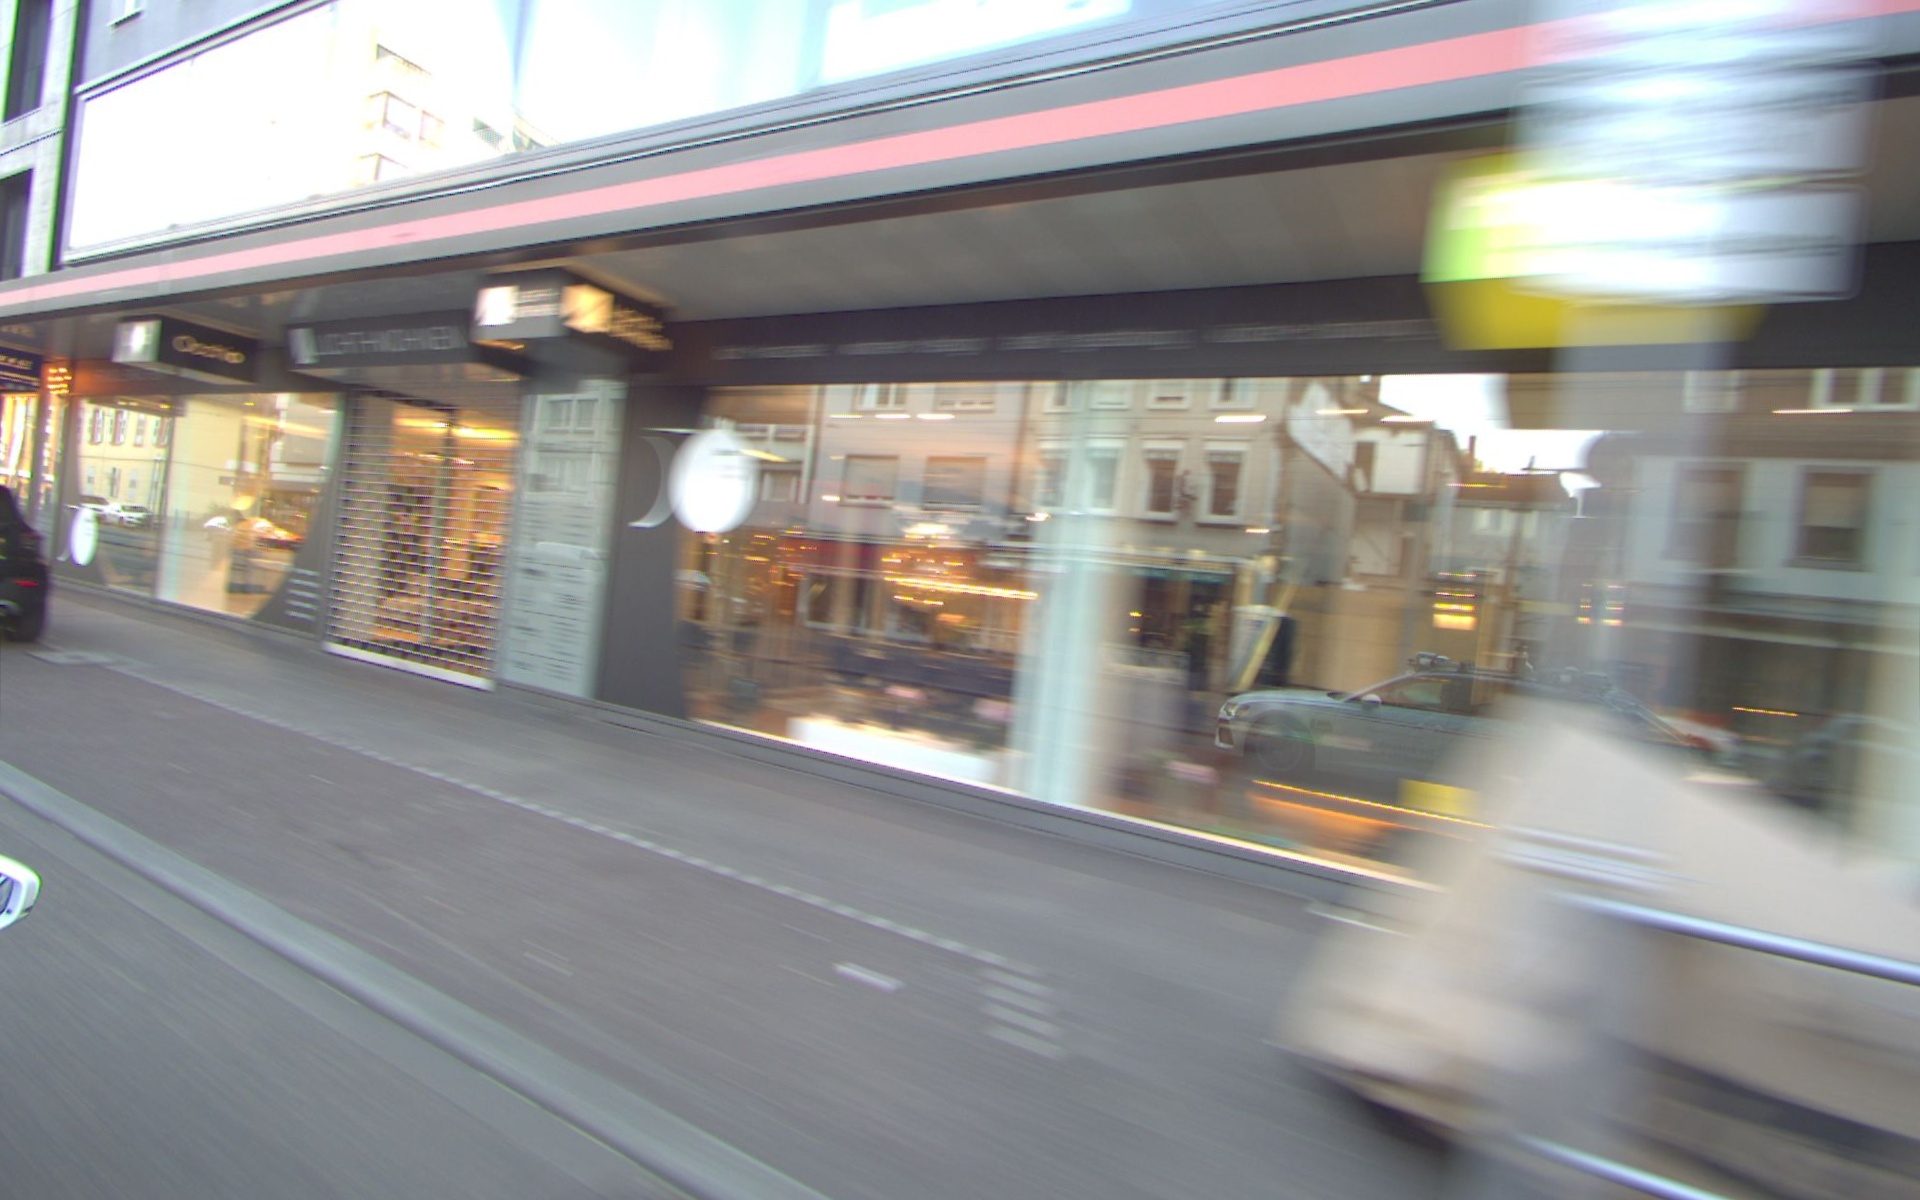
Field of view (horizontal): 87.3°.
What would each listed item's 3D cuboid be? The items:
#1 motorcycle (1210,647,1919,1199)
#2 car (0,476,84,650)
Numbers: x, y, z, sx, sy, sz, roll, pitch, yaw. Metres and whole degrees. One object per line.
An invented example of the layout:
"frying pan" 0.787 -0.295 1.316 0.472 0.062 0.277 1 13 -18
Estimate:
"motorcycle" 1.746 0.955 2.336 1.975 1.435 0.811 7 2 40
"car" -10.744 -0.571 9.922 4.470 1.565 1.944 7 2 32
